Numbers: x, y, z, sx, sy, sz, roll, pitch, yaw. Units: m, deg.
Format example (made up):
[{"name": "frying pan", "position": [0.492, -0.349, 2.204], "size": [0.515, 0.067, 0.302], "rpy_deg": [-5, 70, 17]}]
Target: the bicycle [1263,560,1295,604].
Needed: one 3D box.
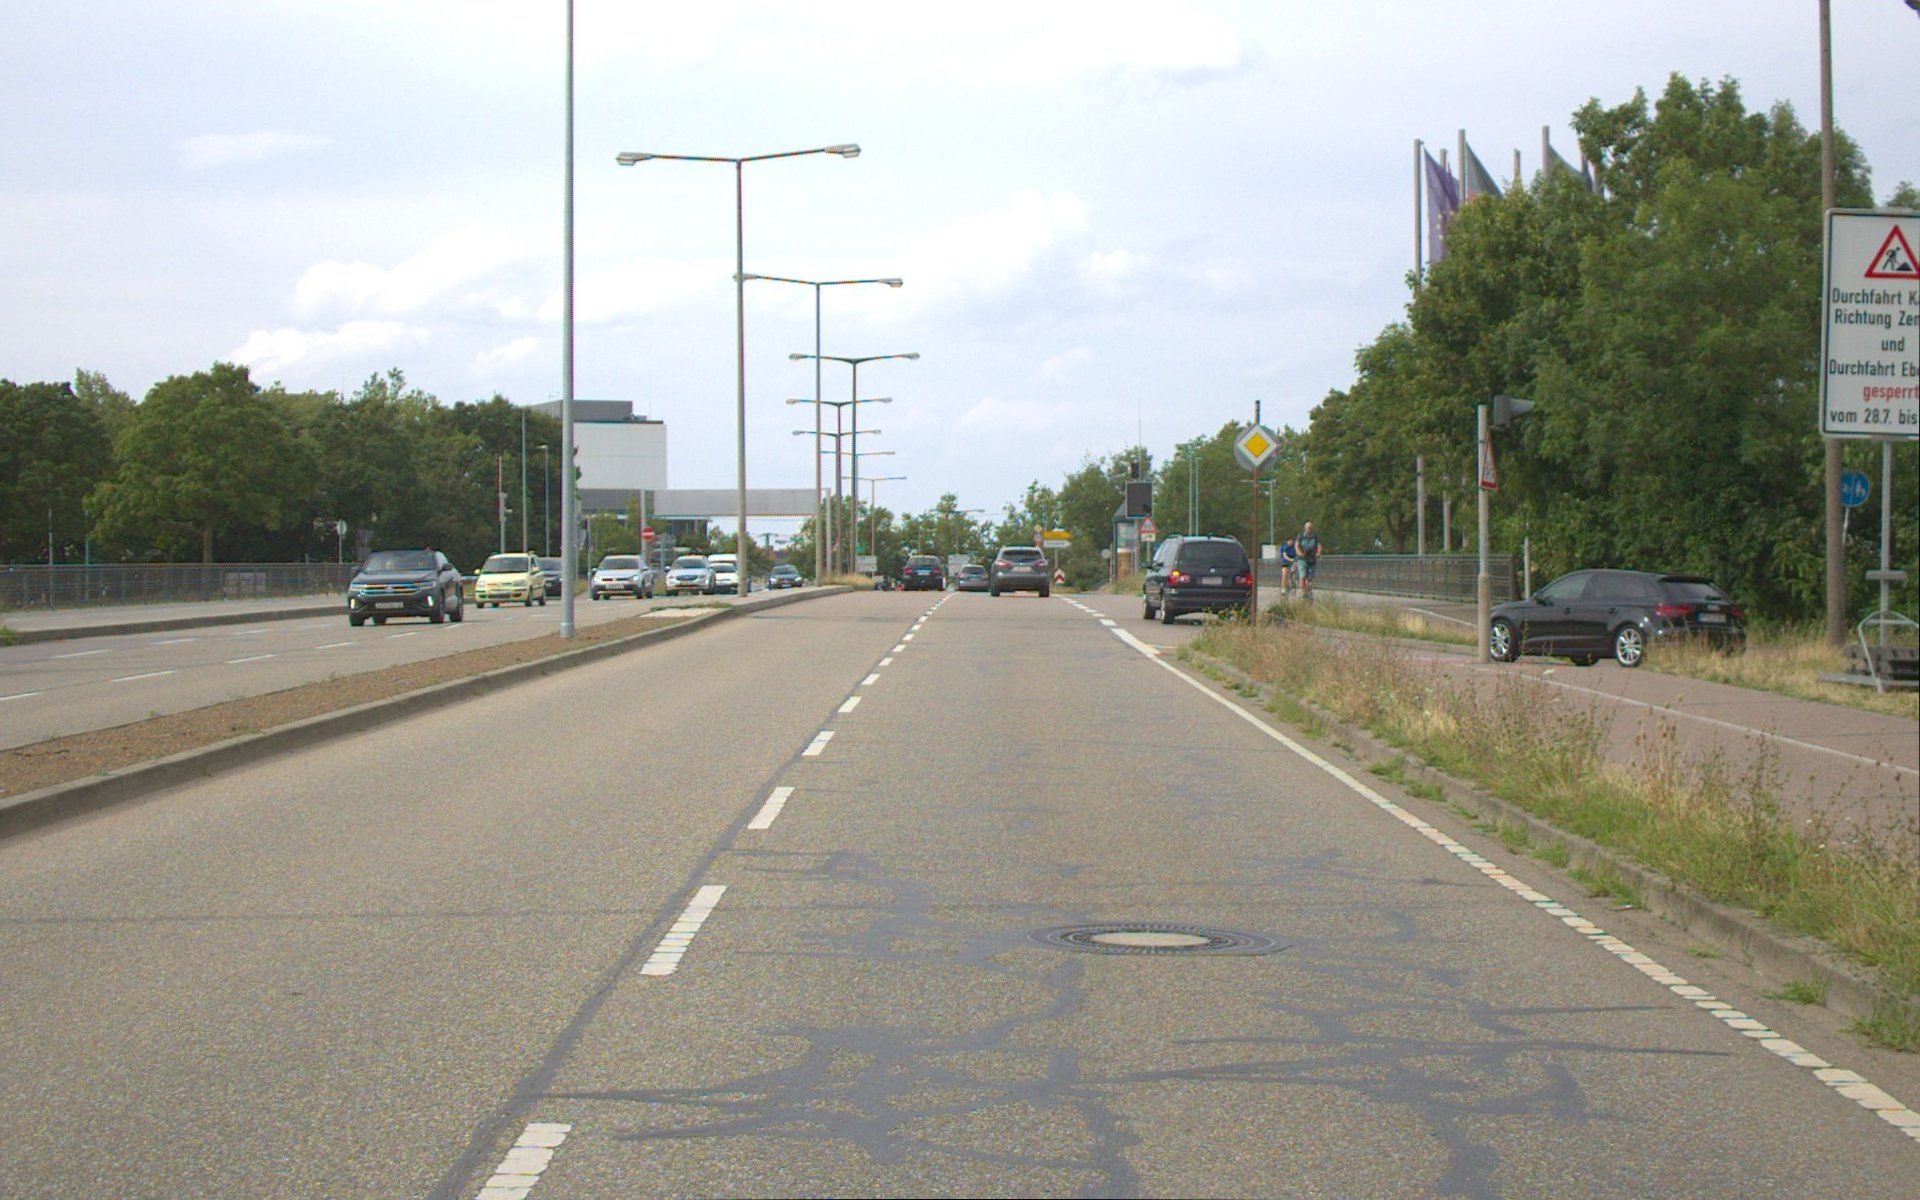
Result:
[{"name": "bicycle", "position": [8.076, -0.467, 87.120], "size": [0.577, 1.018, 1.976], "rpy_deg": [-2, 2, 0]}]

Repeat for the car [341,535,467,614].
[{"name": "car", "position": [-10.894, -0.521, 67.653], "size": [1.763, 1.436, 4.177], "rpy_deg": [-1, 1, 0]}]

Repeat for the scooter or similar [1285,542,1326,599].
[{"name": "scooter or similar", "position": [7.456, -0.637, 74.291], "size": [0.588, 1.220, 1.203], "rpy_deg": [1, 1, -8]}]

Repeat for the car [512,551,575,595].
[{"name": "car", "position": [-14.862, -0.978, 122.952], "size": [1.739, 1.510, 4.316], "rpy_deg": [-1, 1, -1]}]

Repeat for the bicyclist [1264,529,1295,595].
[{"name": "bicyclist", "position": [8.082, -0.969, 87.115], "size": [0.664, 1.653, 0.805], "rpy_deg": [1, 2, 0]}]

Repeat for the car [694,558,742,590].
[{"name": "car", "position": [-11.519, -1.250, 163.951], "size": [1.738, 1.475, 4.471], "rpy_deg": [-1, 1, 3]}]

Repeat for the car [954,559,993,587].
[{"name": "car", "position": [0.725, -1.503, 191.033], "size": [1.730, 1.521, 4.116], "rpy_deg": [1, 0, -6]}]

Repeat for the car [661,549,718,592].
[{"name": "car", "position": [-11.411, -1.262, 145.256], "size": [1.863, 1.719, 4.770], "rpy_deg": [-1, 1, 1]}]

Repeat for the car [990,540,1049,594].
[{"name": "car", "position": [1.886, -1.026, 109.500], "size": [1.730, 1.647, 4.115], "rpy_deg": [1, 0, -1]}]

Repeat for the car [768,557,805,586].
[{"name": "car", "position": [-9.538, -1.566, 189.374], "size": [1.738, 1.475, 4.776], "rpy_deg": [-1, 0, 0]}]

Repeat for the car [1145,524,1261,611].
[{"name": "car", "position": [4.788, -0.632, 68.322], "size": [1.730, 1.647, 4.115], "rpy_deg": [1, 0, -4]}]

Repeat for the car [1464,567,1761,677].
[{"name": "car", "position": [9.133, 0.274, 48.402], "size": [1.731, 1.390, 4.115], "rpy_deg": [-1, 2, -34]}]

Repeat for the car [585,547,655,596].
[{"name": "car", "position": [-11.224, -0.947, 113.696], "size": [1.650, 1.510, 4.016], "rpy_deg": [-1, 1, 3]}]

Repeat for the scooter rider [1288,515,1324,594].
[{"name": "scooter rider", "position": [7.469, -0.990, 74.251], "size": [0.587, 1.685, 0.744], "rpy_deg": [1, 0, -8]}]

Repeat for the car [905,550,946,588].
[{"name": "car", "position": [-1.525, -1.401, 154.774], "size": [1.730, 1.647, 4.115], "rpy_deg": [1, 0, 1]}]

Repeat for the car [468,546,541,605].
[{"name": "car", "position": [-13.019, -0.725, 98.398], "size": [1.548, 1.572, 3.691], "rpy_deg": [-1, 1, 0]}]
